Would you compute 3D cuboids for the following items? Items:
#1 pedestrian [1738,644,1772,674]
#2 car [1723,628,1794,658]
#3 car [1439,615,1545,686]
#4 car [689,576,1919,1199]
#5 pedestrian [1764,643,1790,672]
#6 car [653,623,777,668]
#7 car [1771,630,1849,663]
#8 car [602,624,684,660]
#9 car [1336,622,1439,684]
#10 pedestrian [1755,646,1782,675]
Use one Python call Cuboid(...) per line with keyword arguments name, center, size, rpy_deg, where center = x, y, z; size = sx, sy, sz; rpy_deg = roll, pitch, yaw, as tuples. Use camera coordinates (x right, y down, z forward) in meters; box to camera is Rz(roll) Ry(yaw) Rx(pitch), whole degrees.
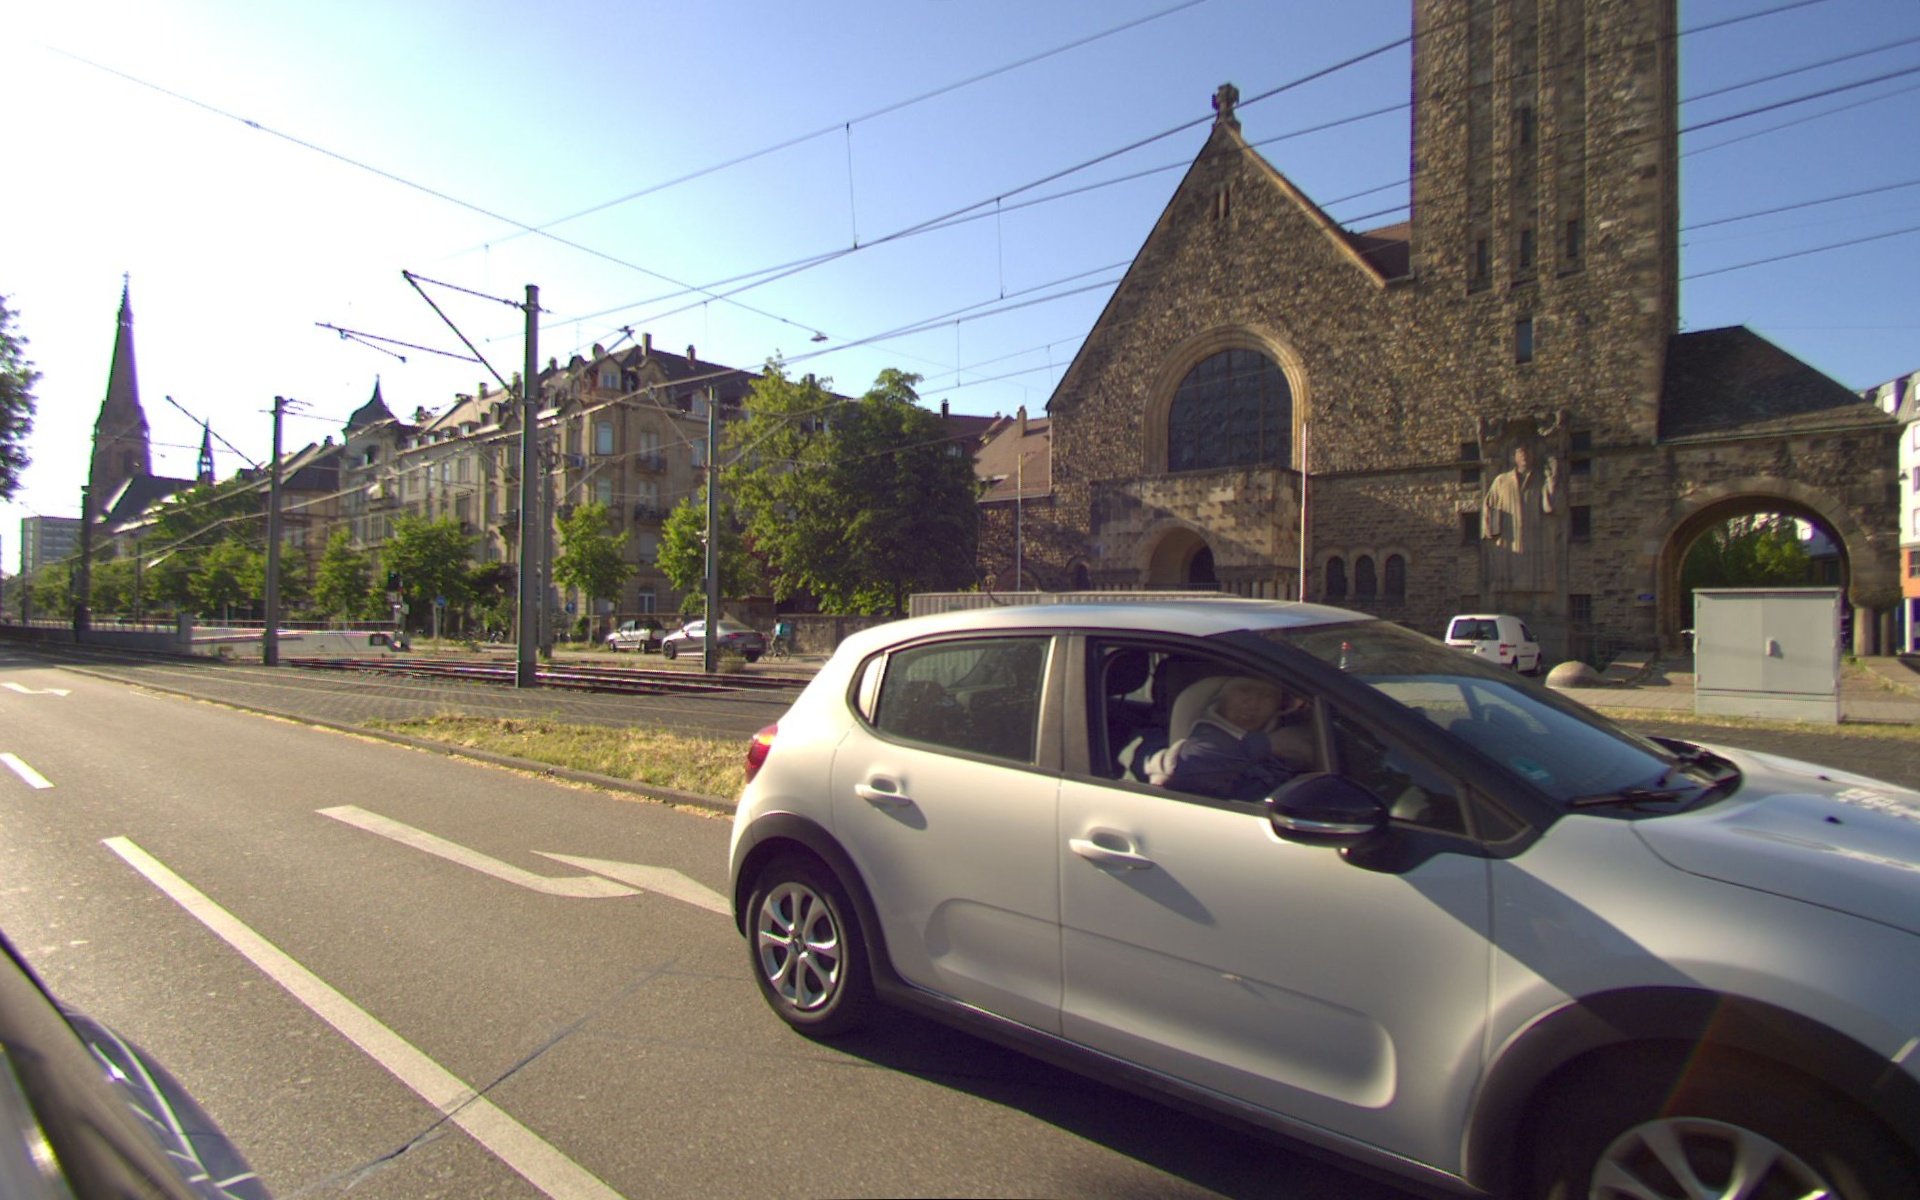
Cuboid(name="pedestrian", center=(32.201, 2.390, 41.001), size=(0.753, 1.136, 0.786), rpy_deg=(-2, 1, -23))
Cuboid(name="car", center=(56.664, 3.047, 71.824), size=(3.933, 1.918, 1.791), rpy_deg=(-2, -4, -14))
Cuboid(name="car", center=(15.404, 1.382, 29.213), size=(1.869, 1.819, 3.973), rpy_deg=(-1, 0, 41))
Cuboid(name="car", center=(1.042, 0.719, 3.034), size=(3.997, 1.511, 1.616), rpy_deg=(-1, 0, 41))
Cuboid(name="pedestrian", center=(33.647, 2.358, 41.670), size=(0.642, 1.136, 0.701), rpy_deg=(-3, 2, -40))
Cuboid(name="car", center=(-8.668, 1.578, 35.559), size=(4.552, 1.438, 1.972), rpy_deg=(-1, -3, 41))
Cuboid(name="car", center=(55.895, 3.068, 66.563), size=(3.933, 1.918, 1.791), rpy_deg=(-2, -4, -14))
Cuboid(name="car", center=(-14.906, 1.945, 47.534), size=(4.212, 1.541, 1.763), rpy_deg=(-1, 0, 41))
Cuboid(name="car", center=(13.039, 1.543, 30.745), size=(1.767, 1.642, 3.989), rpy_deg=(-1, 0, 41))
Cuboid(name="pedestrian", center=(33.000, 2.463, 41.306), size=(0.641, 1.136, 0.702), rpy_deg=(-3, 2, -32))
